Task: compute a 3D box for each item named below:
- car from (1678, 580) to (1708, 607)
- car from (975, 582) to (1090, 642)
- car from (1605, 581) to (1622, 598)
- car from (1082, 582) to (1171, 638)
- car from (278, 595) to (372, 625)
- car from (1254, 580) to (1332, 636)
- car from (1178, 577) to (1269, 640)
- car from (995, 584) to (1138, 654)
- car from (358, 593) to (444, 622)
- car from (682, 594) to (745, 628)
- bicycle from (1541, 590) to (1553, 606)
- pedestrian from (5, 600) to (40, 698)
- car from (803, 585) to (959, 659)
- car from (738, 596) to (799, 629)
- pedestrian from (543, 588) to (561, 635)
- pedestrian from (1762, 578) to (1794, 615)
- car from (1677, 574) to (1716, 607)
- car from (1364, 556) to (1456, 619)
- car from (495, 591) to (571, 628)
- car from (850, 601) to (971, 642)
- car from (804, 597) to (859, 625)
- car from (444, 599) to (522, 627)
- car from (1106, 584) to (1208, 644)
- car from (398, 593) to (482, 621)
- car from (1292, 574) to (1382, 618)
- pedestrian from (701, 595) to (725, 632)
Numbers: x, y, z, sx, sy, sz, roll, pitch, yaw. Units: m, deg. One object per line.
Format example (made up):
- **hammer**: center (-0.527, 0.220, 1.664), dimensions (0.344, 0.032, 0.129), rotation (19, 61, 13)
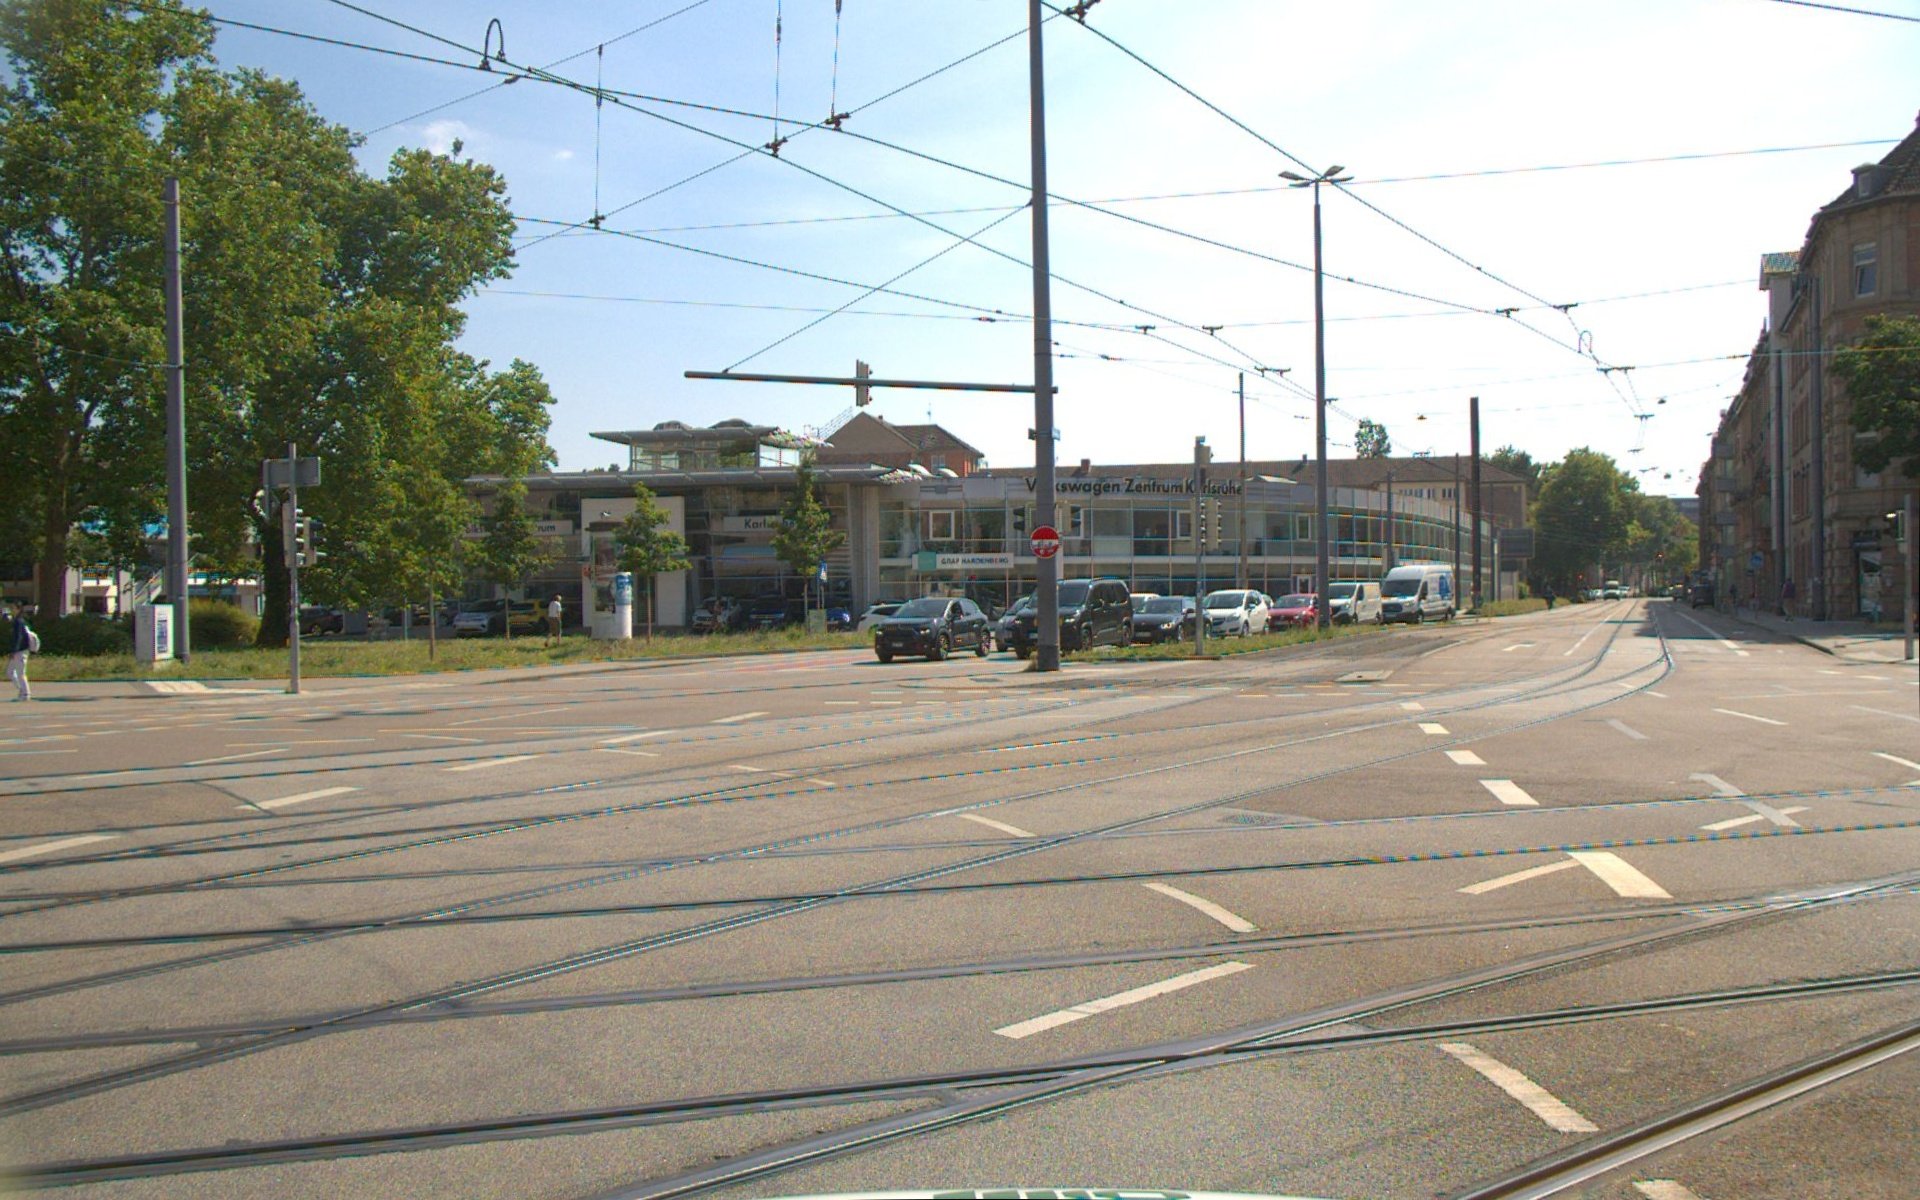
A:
- **car**: center (59.446, -0.490, 134.178), dimensions (2.066, 2.049, 3.999), rotation (1, 0, 22)
- **car**: center (2.100, 0.355, 46.907), dimensions (1.857, 1.615, 3.997), rotation (-1, -1, 25)
- **car**: center (87.169, -1.369, 220.653), dimensions (1.795, 2.251, 3.997), rotation (-1, 0, 25)
- **car**: center (5.465, 0.353, 53.820), dimensions (1.618, 1.769, 4.197), rotation (-1, -1, 25)
- **car**: center (-31.953, 0.482, 83.249), dimensions (3.902, 1.395, 2.002), rotation (2, 0, 8)
- **car**: center (12.130, 0.316, 60.145), dimensions (1.856, 1.950, 4.197), rotation (-1, -1, 25)
- **car**: center (8.601, 0.293, 53.664), dimensions (1.856, 1.950, 4.197), rotation (-1, -1, 25)
- **car**: center (2.683, 0.479, 40.548), dimensions (1.922, 1.615, 4.712), rotation (-1, -1, 25)
- **car**: center (-29.976, 0.389, 88.741), dimensions (3.902, 1.534, 2.002), rotation (0, 0, 7)
- **car**: center (-11.727, 0.507, 78.873), dimensions (1.951, 1.512, 4.003), rotation (-1, 0, 7)
- **bicycle**: center (44.777, -0.145, 126.179), dimensions (0.736, 1.215, 2.838), rotation (1, 0, 22)
- **pedestrian**: center (-15.753, 0.817, 27.803), dimensions (0.448, 1.633, 0.396), rotation (2, -1, -28)
- **car**: center (-1.758, 0.526, 38.282), dimensions (1.854, 1.615, 4.207), rotation (-1, -1, 25)
- **car**: center (-9.036, 0.579, 78.450), dimensions (1.951, 1.512, 4.003), rotation (1, 0, 7)
- **pedestrian**: center (-14.473, 0.408, 58.643), dimensions (0.385, 1.623, 0.463), rotation (1, -1, 32)
- **pedestrian**: center (32.242, -0.136, 65.201), dimensions (0.700, 1.458, 0.881), rotation (-1, 0, -22)
- **car**: center (47.535, -0.591, 106.776), dimensions (1.952, 2.049, 4.001), rotation (1, 0, 20)
- **car**: center (20.047, -0.530, 73.493), dimensions (2.170, 2.620, 5.856), rotation (1, 0, 34)
- **car**: center (-20.884, 0.469, 81.058), dimensions (1.951, 1.713, 4.003), rotation (1, 0, 13)
- **car**: center (-1.939, 0.826, 64.397), dimensions (4.491, 1.461, 1.444), rotation (2, 0, 22)
- **car**: center (-6.001, 0.497, 77.612), dimensions (1.791, 1.216, 4.003), rotation (2, 0, 7)
- **car**: center (-23.319, 0.624, 81.022), dimensions (1.951, 1.266, 4.003), rotation (2, 0, 13)
- **car**: center (5.607, 0.412, 46.747), dimensions (1.856, 1.615, 3.999), rotation (-1, -1, 22)
- **car**: center (-28.766, 0.383, 91.569), dimensions (3.902, 1.534, 2.002), rotation (0, 0, 7)
- **car**: center (15.282, -0.172, 66.857), dimensions (2.145, 1.710, 5.019), rotation (-1, 0, 30)
- **pedestrian**: center (-11.242, 0.613, 75.298), dimensions (0.933, 1.607, 0.534), rotation (1, 0, 5)
